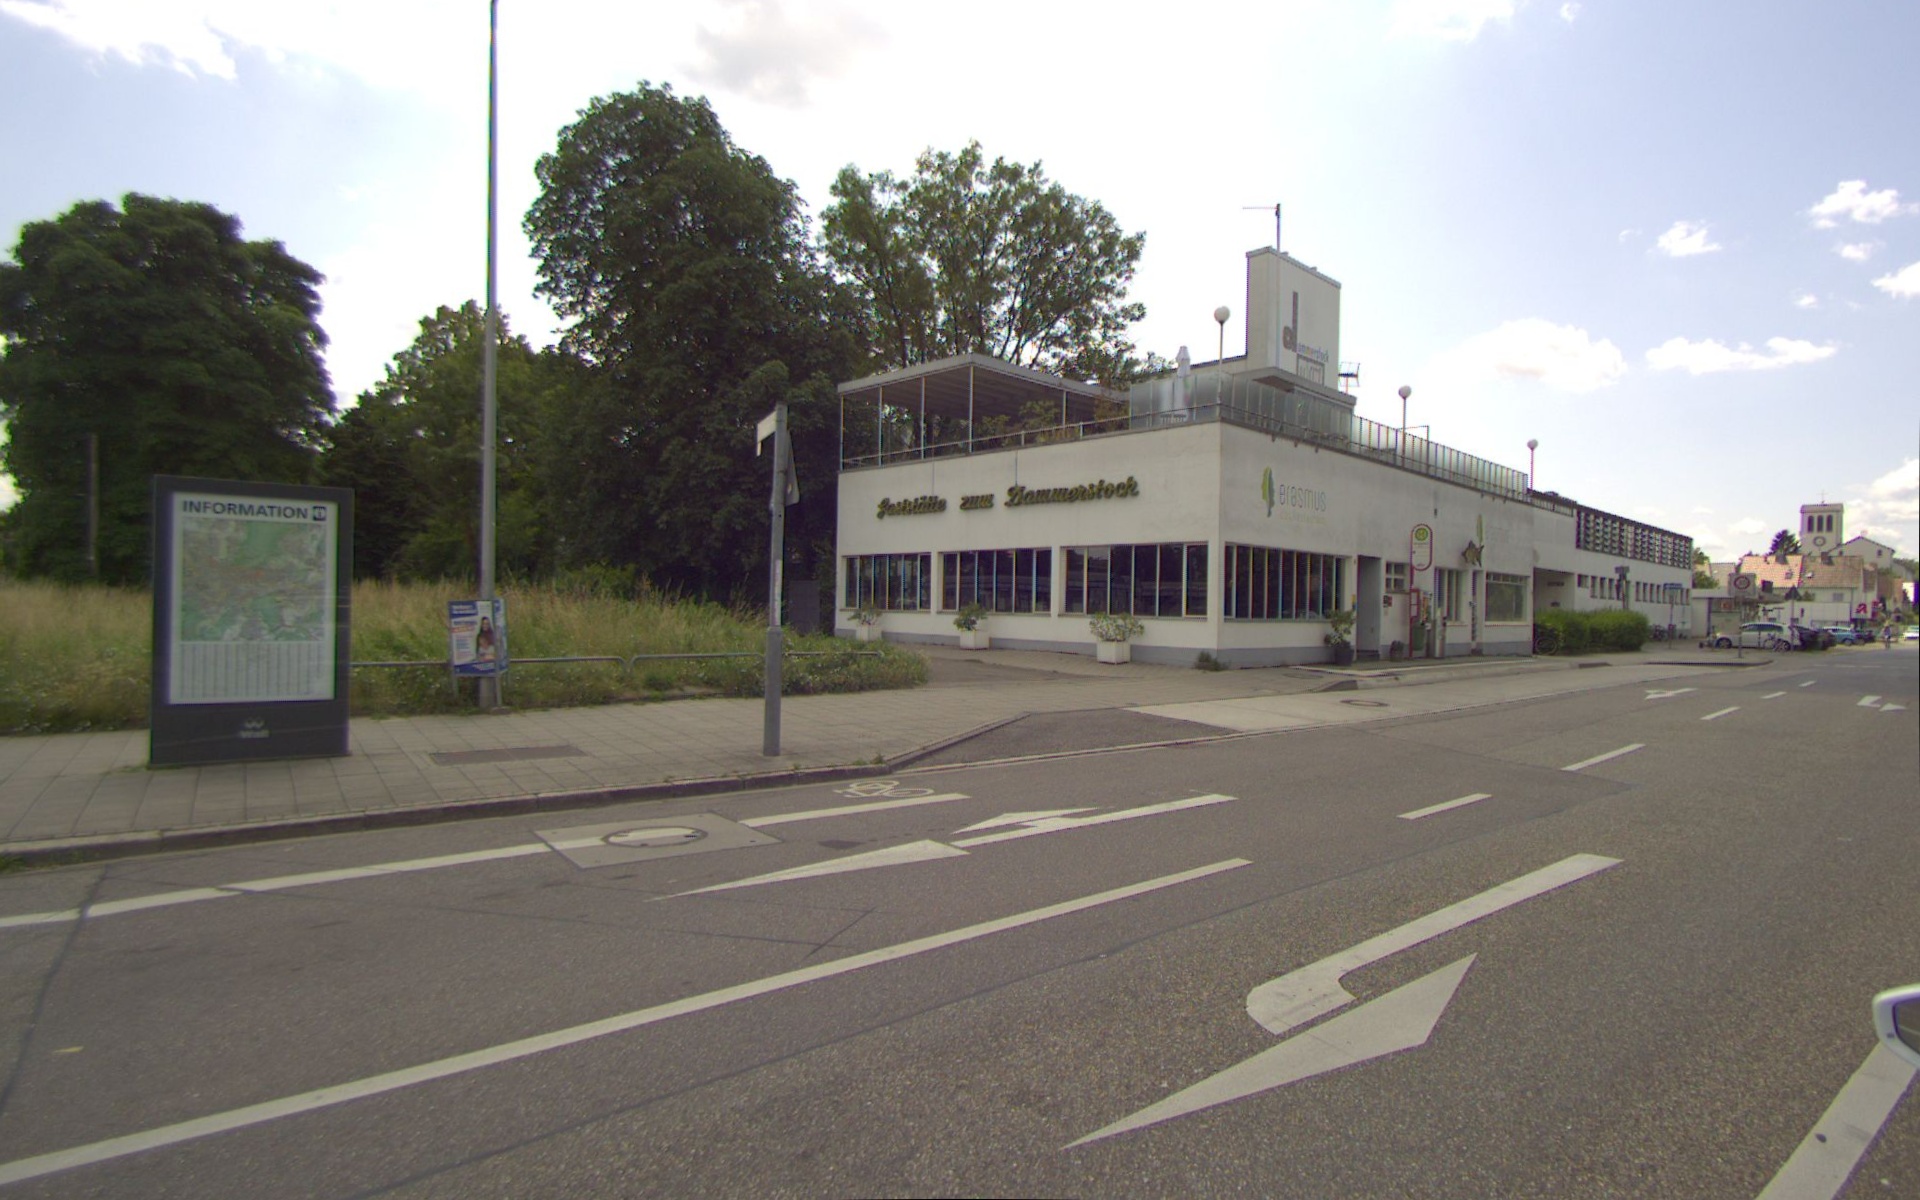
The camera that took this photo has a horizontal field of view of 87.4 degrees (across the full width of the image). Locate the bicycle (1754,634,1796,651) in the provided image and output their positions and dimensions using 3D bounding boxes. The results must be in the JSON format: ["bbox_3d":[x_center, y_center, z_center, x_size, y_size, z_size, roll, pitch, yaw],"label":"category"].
[{"bbox_3d":[42.714,2.207,52.646,1.650,0.767,0.567,2,1,41],"label":"bicycle"}]

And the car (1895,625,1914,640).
[{"bbox_3d":[123.126,4.234,130.959,1.763,1.879,3.978,1,0,43],"label":"car"}]

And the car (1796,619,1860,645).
[{"bbox_3d":[72.087,2.655,83.495,3.940,2.040,1.990,0,-1,41],"label":"car"}]

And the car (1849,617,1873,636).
[{"bbox_3d":[104.171,3.051,116.093,1.972,2.040,3.978,1,0,43],"label":"car"}]

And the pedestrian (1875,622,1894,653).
[{"bbox_3d":[65.213,2.623,70.857,1.007,2.164,0.900,1,0,-43],"label":"pedestrian"}]

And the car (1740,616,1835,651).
[{"bbox_3d":[52.666,2.131,64.011,4.578,2.040,1.990,1,-2,41],"label":"car"}]

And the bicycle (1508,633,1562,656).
[{"bbox_3d":[20.658,1.581,36.112,1.644,0.767,0.410,1,0,29],"label":"bicycle"}]

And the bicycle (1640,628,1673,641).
[{"bbox_3d":[45.095,2.217,65.014,1.642,0.767,0.570,2,0,20],"label":"bicycle"}]

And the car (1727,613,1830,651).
[{"bbox_3d":[47.936,1.874,58.880,4.578,2.040,1.990,1,-2,41],"label":"car"}]

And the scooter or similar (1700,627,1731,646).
[{"bbox_3d":[41.252,2.007,54.858,0.612,1.009,1.997,1,-1,15],"label":"scooter or similar"}]

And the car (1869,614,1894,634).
[{"bbox_3d":[98.304,2.562,107.157,1.972,2.040,3.978,1,0,43],"label":"car"}]

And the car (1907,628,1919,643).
[{"bbox_3d":[131.409,4.882,138.011,1.763,1.879,3.978,1,0,43],"label":"car"}]

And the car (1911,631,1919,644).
[{"bbox_3d":[145.501,5.710,152.323,1.763,1.879,3.978,1,0,43],"label":"car"}]

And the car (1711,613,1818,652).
[{"bbox_3d":[44.982,1.792,56.188,4.578,2.040,1.990,1,-2,41],"label":"car"}]

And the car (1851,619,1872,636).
[{"bbox_3d":[113.541,3.395,126.485,1.972,2.040,3.978,1,0,43],"label":"car"}]

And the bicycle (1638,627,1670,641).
[{"bbox_3d":[45.405,2.222,65.724,1.642,0.767,0.570,2,0,20],"label":"bicycle"}]
